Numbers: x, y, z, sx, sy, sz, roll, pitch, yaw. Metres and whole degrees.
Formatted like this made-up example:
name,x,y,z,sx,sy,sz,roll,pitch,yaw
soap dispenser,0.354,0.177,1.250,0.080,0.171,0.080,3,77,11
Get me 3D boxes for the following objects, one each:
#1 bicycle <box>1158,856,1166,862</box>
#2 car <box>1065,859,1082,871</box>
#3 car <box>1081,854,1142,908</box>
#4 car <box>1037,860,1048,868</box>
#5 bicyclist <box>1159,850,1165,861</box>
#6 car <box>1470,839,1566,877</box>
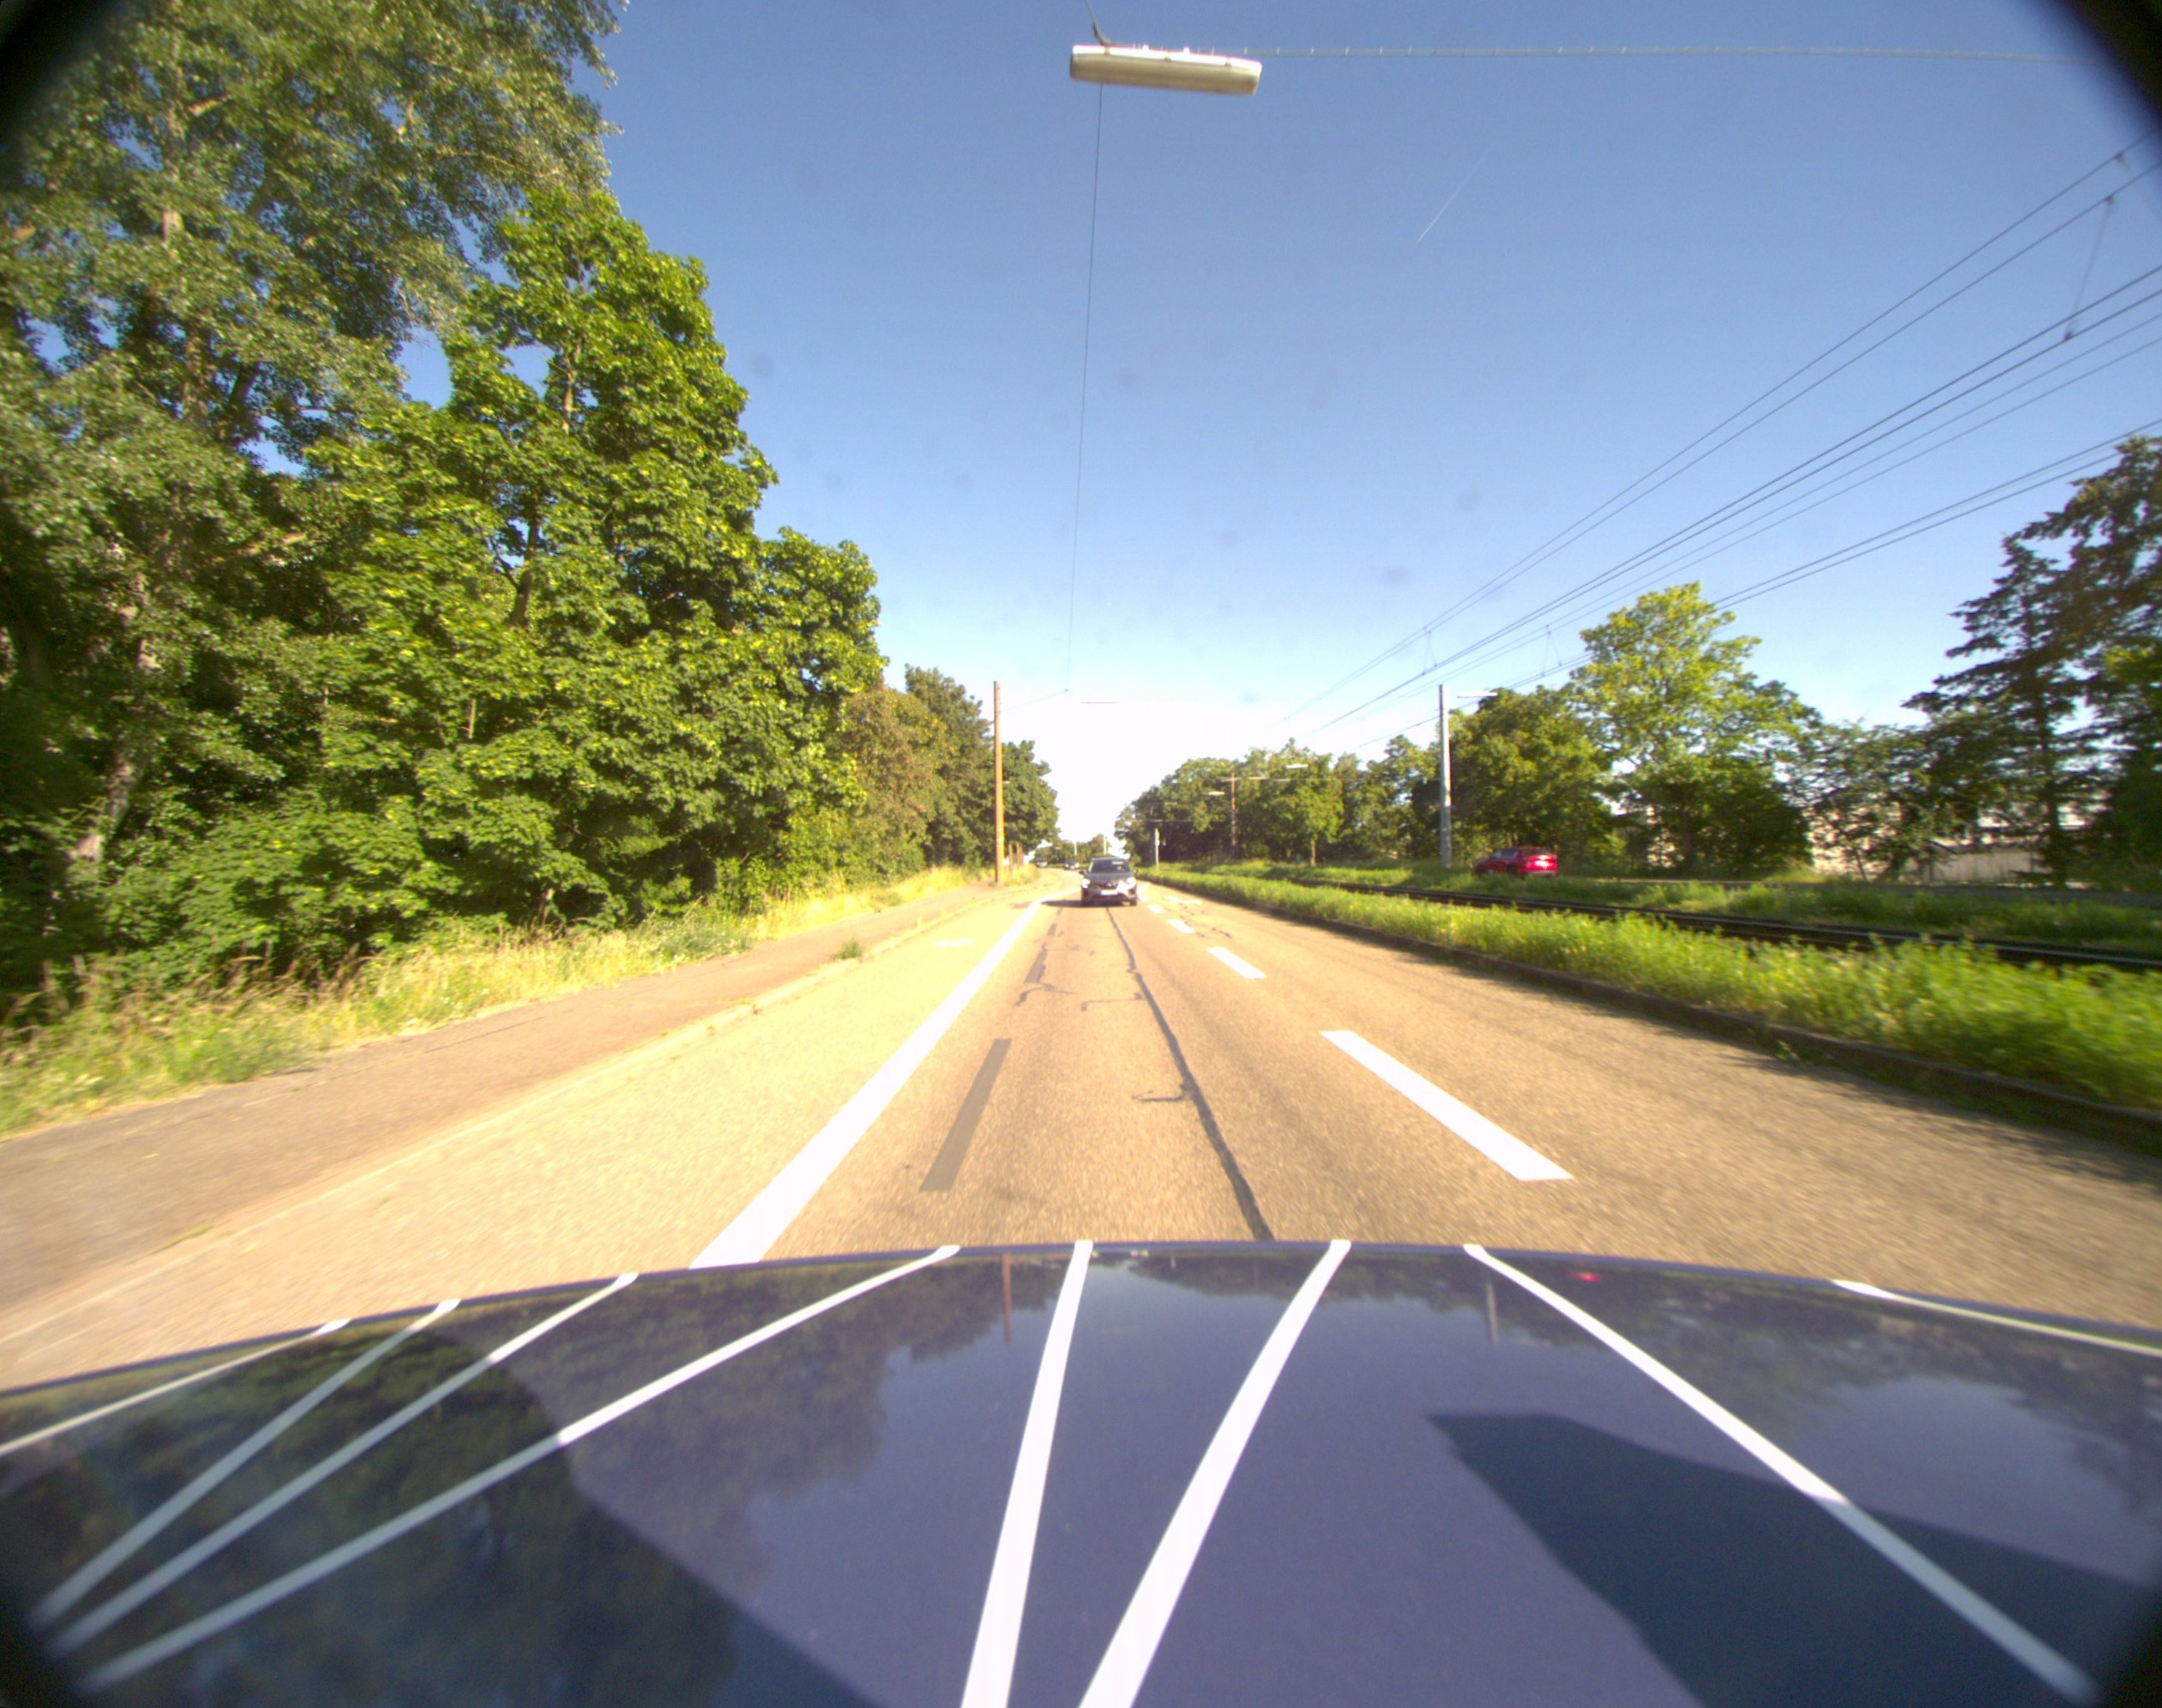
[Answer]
name,x,y,z,sx,sy,sz,roll,pitch,yaw
bicycle,13.147,0.836,123.610,0.820,0.909,2.536,-1,0,-4
car,-1.059,1.490,102.352,1.999,1.577,3.998,-2,0,-4
car,0.965,0.832,25.541,1.822,1.589,4.413,-2,0,1
car,-8.336,2.106,165.195,2.000,1.577,3.998,-2,0,-6
bicyclist,13.146,0.216,123.547,0.821,1.726,0.902,-1,0,-4
car,20.880,0.186,36.555,2.009,1.692,4.466,-1,0,0
